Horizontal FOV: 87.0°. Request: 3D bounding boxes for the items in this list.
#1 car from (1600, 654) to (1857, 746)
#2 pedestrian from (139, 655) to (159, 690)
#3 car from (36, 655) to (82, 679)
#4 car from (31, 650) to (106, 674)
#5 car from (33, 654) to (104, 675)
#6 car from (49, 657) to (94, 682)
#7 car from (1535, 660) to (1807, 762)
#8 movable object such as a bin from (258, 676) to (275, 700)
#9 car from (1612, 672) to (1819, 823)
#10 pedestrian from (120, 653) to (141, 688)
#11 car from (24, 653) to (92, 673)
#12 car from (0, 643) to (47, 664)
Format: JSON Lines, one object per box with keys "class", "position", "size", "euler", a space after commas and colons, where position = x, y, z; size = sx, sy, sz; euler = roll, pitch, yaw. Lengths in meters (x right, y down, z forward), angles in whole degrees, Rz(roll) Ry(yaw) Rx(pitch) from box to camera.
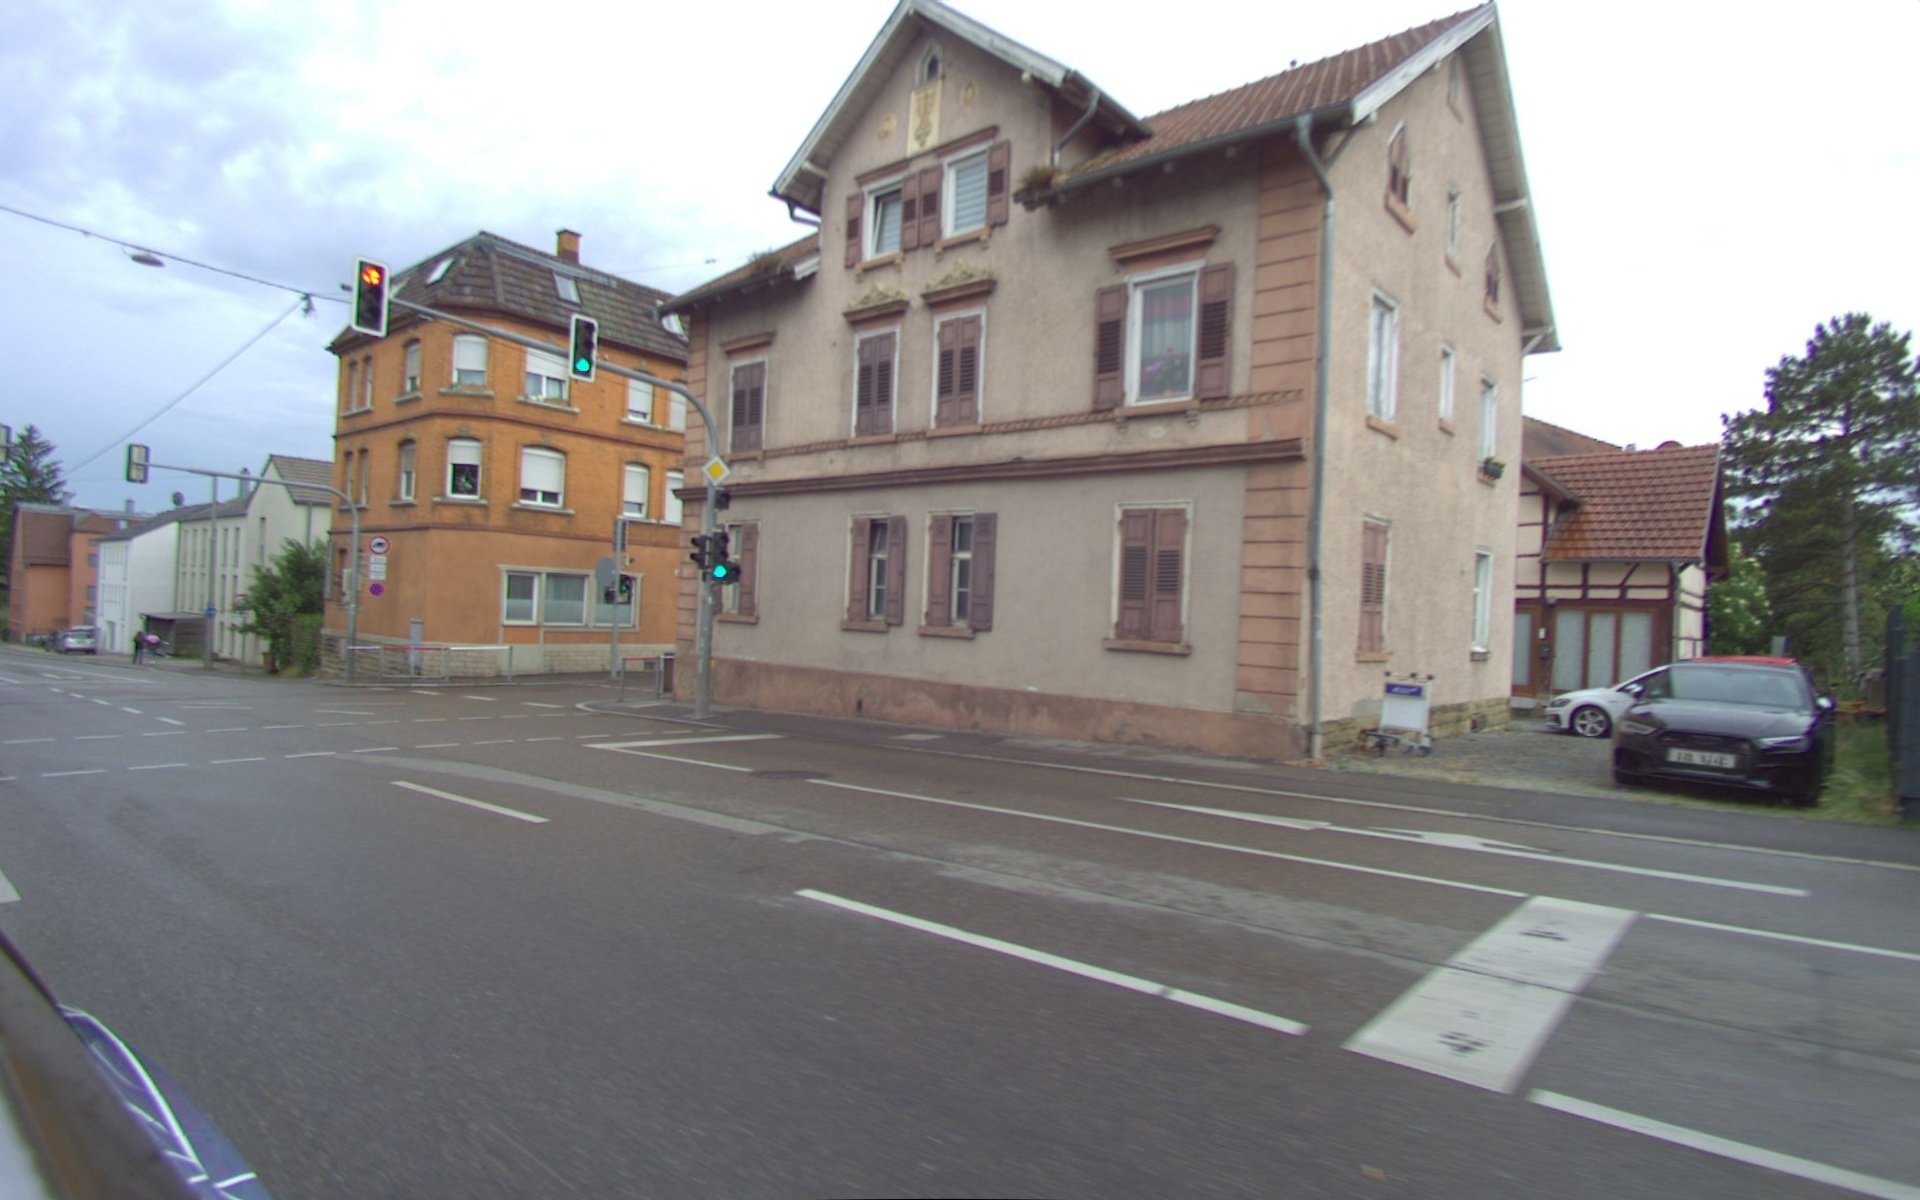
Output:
{"class": "car", "position": [15.377, 1.930, 20.393], "size": [3.998, 1.528, 1.624], "euler": [-1, -1, 41]}
{"class": "pedestrian", "position": [-40.846, 3.632, 50.968], "size": [0.911, 1.719, 0.633], "euler": [-1, -2, 42]}
{"class": "car", "position": [-64.918, 4.812, 72.918], "size": [4.077, 1.564, 1.729], "euler": [-1, -1, 37]}
{"class": "car", "position": [-72.922, 5.047, 82.826], "size": [2.153, 1.620, 4.482], "euler": [-1, -1, 43]}
{"class": "car", "position": [-71.210, 5.128, 80.879], "size": [1.895, 1.475, 4.081], "euler": [-1, -1, 42]}
{"class": "car", "position": [-59.563, 4.643, 67.850], "size": [4.176, 1.519, 1.726], "euler": [-1, -3, 42]}
{"class": "car", "position": [13.134, 1.967, 18.829], "size": [3.998, 1.528, 1.679], "euler": [-1, -1, 41]}
{"class": "movable object such as a bin", "position": [-27.947, 3.536, 40.779], "size": [0.525, 0.932, 0.405], "euler": [-1, -1, 35]}
{"class": "car", "position": [8.480, 1.507, 11.426], "size": [1.604, 1.172, 3.950], "euler": [0, -1, 37]}
{"class": "pedestrian", "position": [-41.341, 3.501, 50.431], "size": [0.911, 1.719, 0.633], "euler": [-1, -2, 42]}
{"class": "car", "position": [-75.036, 5.210, 84.203], "size": [2.000, 1.444, 4.116], "euler": [-1, -1, 43]}
{"class": "car", "position": [-94.919, 5.360, 102.266], "size": [3.938, 2.029, 2.003], "euler": [1, -1, -41]}
